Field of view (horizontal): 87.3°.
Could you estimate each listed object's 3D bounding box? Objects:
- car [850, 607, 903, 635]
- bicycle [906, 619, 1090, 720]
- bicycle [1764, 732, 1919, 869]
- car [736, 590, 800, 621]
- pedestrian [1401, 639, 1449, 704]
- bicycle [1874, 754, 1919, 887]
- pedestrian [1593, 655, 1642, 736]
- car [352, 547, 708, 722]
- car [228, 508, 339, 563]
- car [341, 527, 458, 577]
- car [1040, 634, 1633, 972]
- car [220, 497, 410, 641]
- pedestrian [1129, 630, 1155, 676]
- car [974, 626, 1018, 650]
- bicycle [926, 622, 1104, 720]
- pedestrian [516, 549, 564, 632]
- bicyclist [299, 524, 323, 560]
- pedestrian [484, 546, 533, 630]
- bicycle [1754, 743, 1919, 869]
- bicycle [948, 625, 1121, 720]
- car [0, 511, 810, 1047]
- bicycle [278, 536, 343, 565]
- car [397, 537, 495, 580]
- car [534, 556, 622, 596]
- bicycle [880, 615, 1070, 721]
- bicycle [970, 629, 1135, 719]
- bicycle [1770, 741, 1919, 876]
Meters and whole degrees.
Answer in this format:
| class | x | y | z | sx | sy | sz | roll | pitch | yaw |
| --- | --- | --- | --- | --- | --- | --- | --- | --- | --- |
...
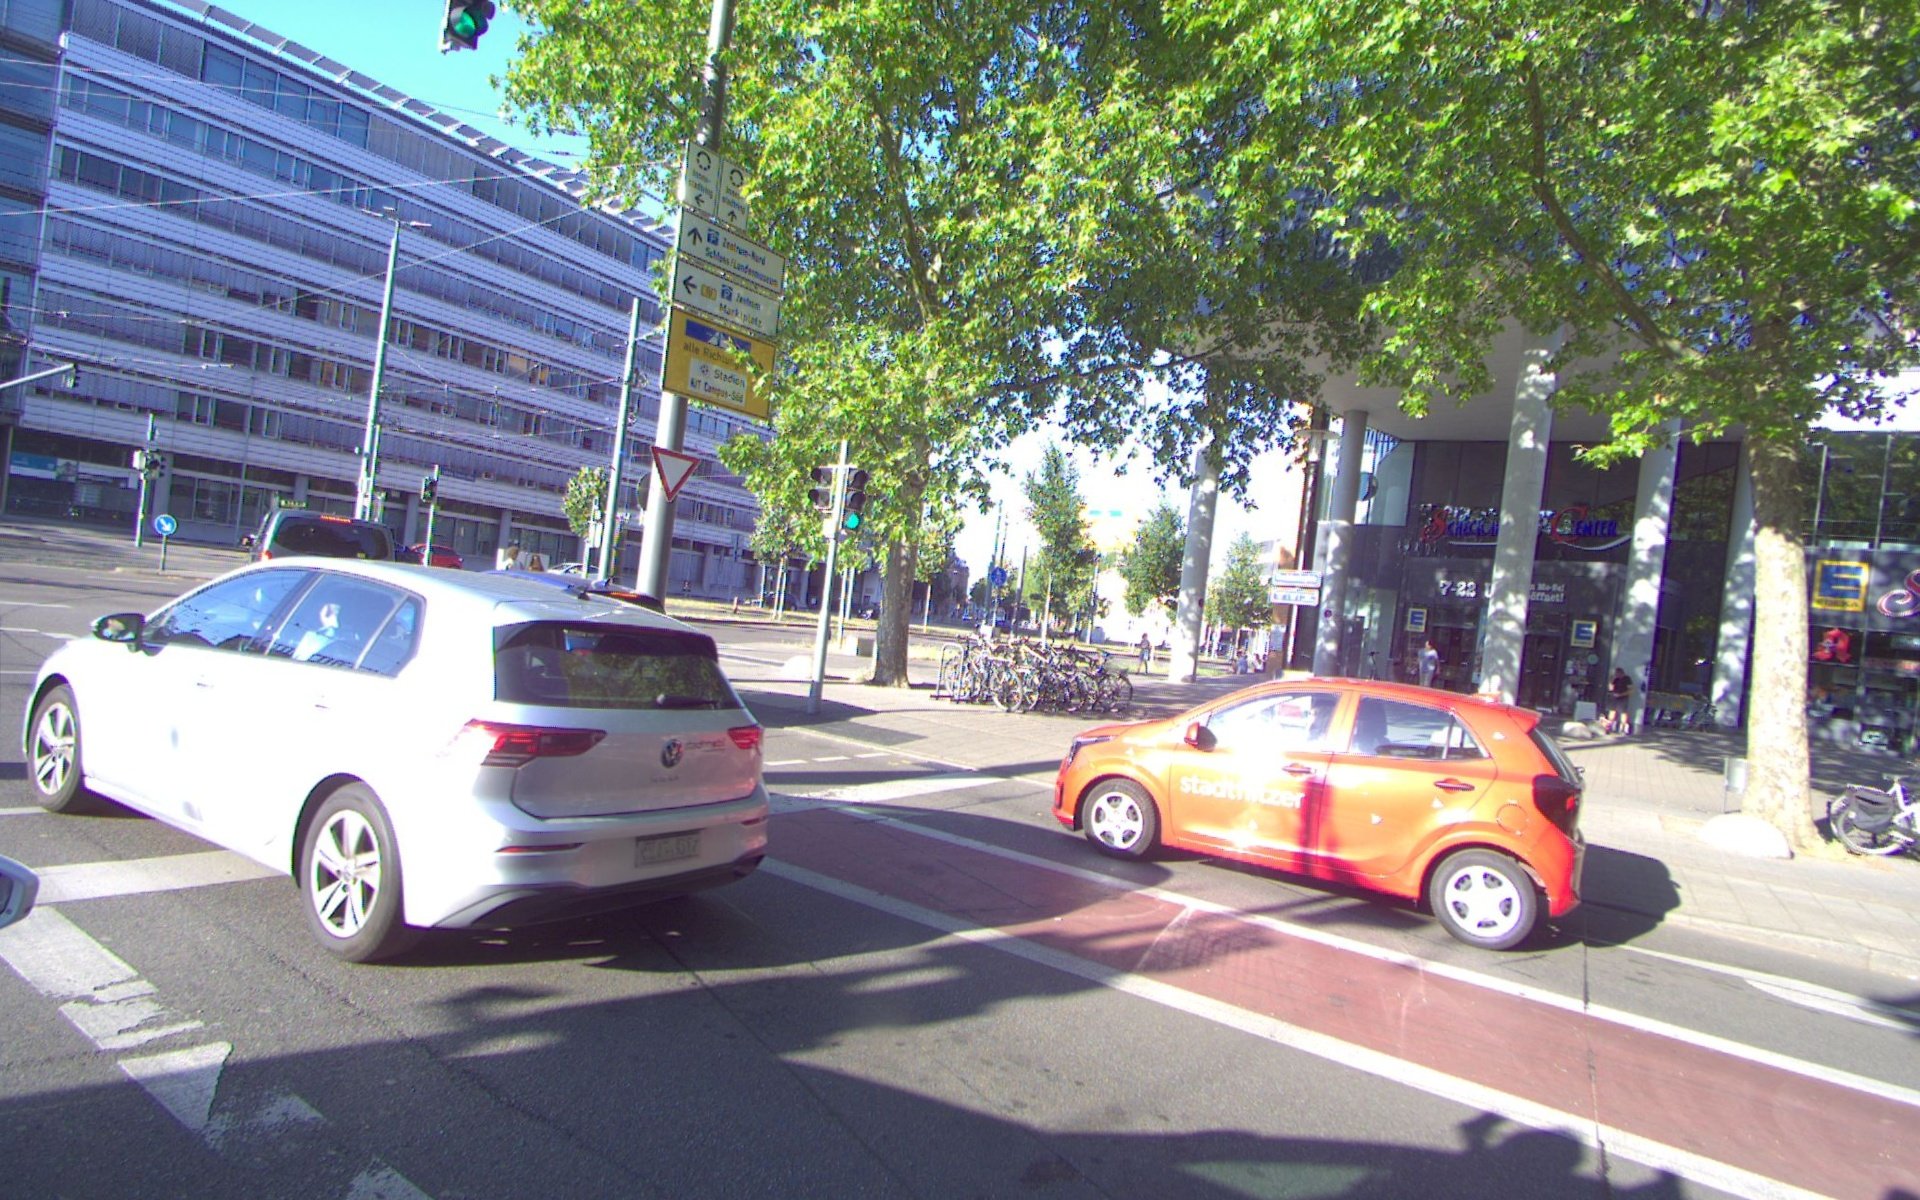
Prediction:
| class | x | y | z | sx | sy | sz | roll | pitch | yaw |
| --- | --- | --- | --- | --- | --- | --- | --- | --- | --- |
| car | -6.534 | 1.672 | 78.982 | 1.852 | 1.614 | 4.121 | 6 | -2 | 35 |
| bicycle | 0.570 | 1.102 | 16.309 | 2.896 | 1.243 | 0.686 | 6 | -1 | 31 |
| bicycle | 11.313 | 2.473 | 11.009 | 3.757 | 1.235 | 0.727 | 10 | 1 | 38 |
| car | -13.321 | 0.420 | 70.110 | 1.852 | 1.614 | 4.121 | 6 | -2 | 35 |
| pedestrian | 14.563 | 2.233 | 31.515 | 0.800 | 1.913 | 0.871 | 5 | 1 | -16 |
| bicycle | 10.312 | 2.253 | 9.371 | 2.514 | 1.234 | 0.756 | 5 | -2 | 37 |
| pedestrian | 17.541 | 2.555 | 26.835 | 0.847 | 2.037 | 1.021 | 6 | -1 | 38 |
| car | -5.191 | 0.368 | 11.994 | 4.143 | 1.476 | 1.751 | 7 | -1 | 32 |
| car | -33.947 | -3.193 | 50.559 | 1.967 | 2.037 | 3.995 | 6 | -2 | 32 |
| car | -25.994 | -2.200 | 46.803 | 1.854 | 1.744 | 4.256 | 7 | 0 | 34 |
| car | 2.559 | 1.233 | 7.188 | 3.538 | 1.476 | 1.493 | 7 | -1 | 32 |
| car | -11.069 | -0.589 | 17.083 | 1.993 | 1.919 | 4.828 | 8 | -1 | -39 |
| pedestrian | 6.687 | 1.949 | 36.974 | 0.569 | 1.612 | 0.595 | 7 | 0 | 32 |
| car | 3.242 | 3.425 | 90.468 | 1.852 | 1.614 | 4.121 | 6 | -2 | 35 |
| bicycle | 0.890 | 1.171 | 16.965 | 2.896 | 1.252 | 0.705 | 6 | -1 | 32 |
| pedestrian | -9.574 | -0.215 | 22.930 | 0.680 | 1.781 | 0.734 | 6 | 1 | -38 |
| bicyclist | -29.999 | -2.674 | 46.513 | 0.604 | 1.521 | 0.663 | 7 | 1 | 37 |
| pedestrian | -10.101 | -0.277 | 22.507 | 0.674 | 1.781 | 0.734 | 6 | 1 | -38 |
| bicycle | 11.680 | 2.561 | 11.692 | 3.760 | 1.234 | 0.791 | 5 | -2 | 38 |
| bicycle | 1.276 | 1.249 | 17.699 | 2.896 | 1.250 | 0.698 | 6 | -4 | 31 |
| car | -2.851 | 0.523 | 4.845 | 3.936 | 1.435 | 1.750 | 7 | -1 | 34 |
| bicycle | -30.031 | -2.269 | 46.566 | 0.627 | 1.035 | 2.410 | 7 | 0 | 36 |
| car | -26.463 | -2.130 | 51.885 | 1.769 | 1.569 | 3.990 | 6 | -2 | 36 |
| car | -20.847 | -1.291 | 55.014 | 1.852 | 1.614 | 3.991 | 6 | -2 | 35 |
| bicycle | 0.191 | 1.034 | 15.705 | 2.896 | 1.252 | 0.705 | 6 | -1 | 31 |
| bicycle | 1.669 | 1.325 | 18.525 | 2.896 | 1.253 | 0.704 | 6 | 1 | 31 |
| bicycle | 10.879 | 2.363 | 10.424 | 3.759 | 1.234 | 0.756 | 5 | -2 | 38 |
